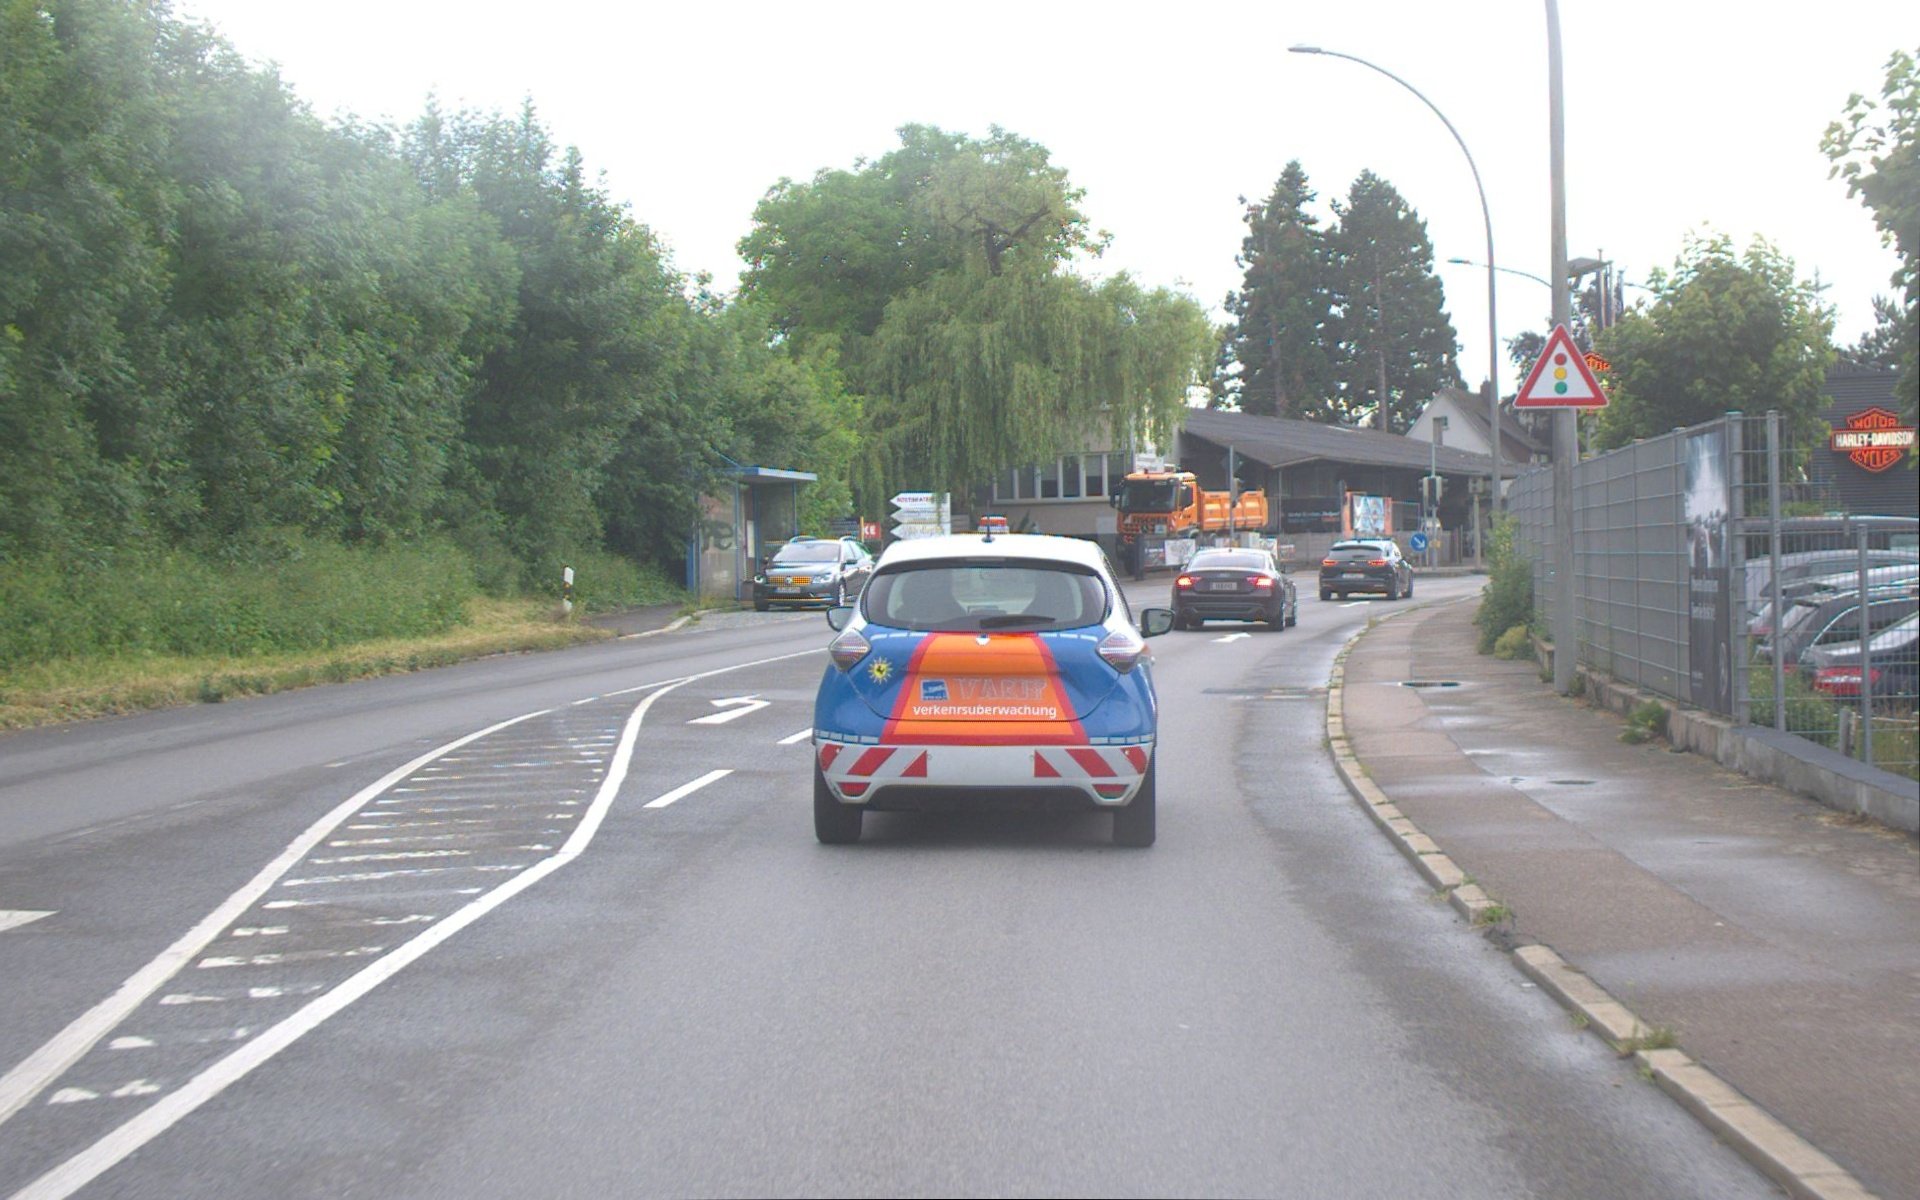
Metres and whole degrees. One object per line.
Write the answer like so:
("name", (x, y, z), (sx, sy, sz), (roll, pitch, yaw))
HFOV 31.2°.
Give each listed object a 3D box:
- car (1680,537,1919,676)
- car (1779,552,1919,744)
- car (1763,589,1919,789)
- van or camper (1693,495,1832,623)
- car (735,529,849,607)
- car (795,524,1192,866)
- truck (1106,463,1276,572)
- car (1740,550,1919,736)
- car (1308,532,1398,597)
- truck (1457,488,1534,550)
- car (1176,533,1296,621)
("car", (9.756, 0.091, 36.784), (3.989, 1.399, 1.788), (2, 0, 12))
("car", (9.340, 0.452, 29.668), (4.174, 1.593, 1.968), (2, 0, 7))
("car", (8.069, 0.670, 24.824), (4.108, 1.365, 2.000), (2, 0, 3))
("van or camper", (17.247, -0.913, 73.657), (2.043, 2.584, 6.583), (-1, 1, 20))
("car", (-3.380, -0.624, 69.879), (1.993, 1.469, 4.700), (2, 0, 1))
("car", (0.216, 0.416, 18.409), (1.888, 1.626, 4.000), (0, 1, 2))
("truck", (8.037, -2.781, 118.458), (2.701, 3.400, 9.059), (2, 0, 25))
("car", (8.397, 0.376, 27.376), (3.987, 1.403, 1.593), (2, 0, 1))
("car", (9.268, -0.809, 80.878), (1.994, 1.415, 3.999), (2, 0, 8))
("truck", (26.384, -3.947, 169.210), (2.397, 2.917, 5.950), (2, 1, 22))
("car", (4.644, -0.357, 57.462), (1.721, 1.371, 3.932), (2, 0, 8))
